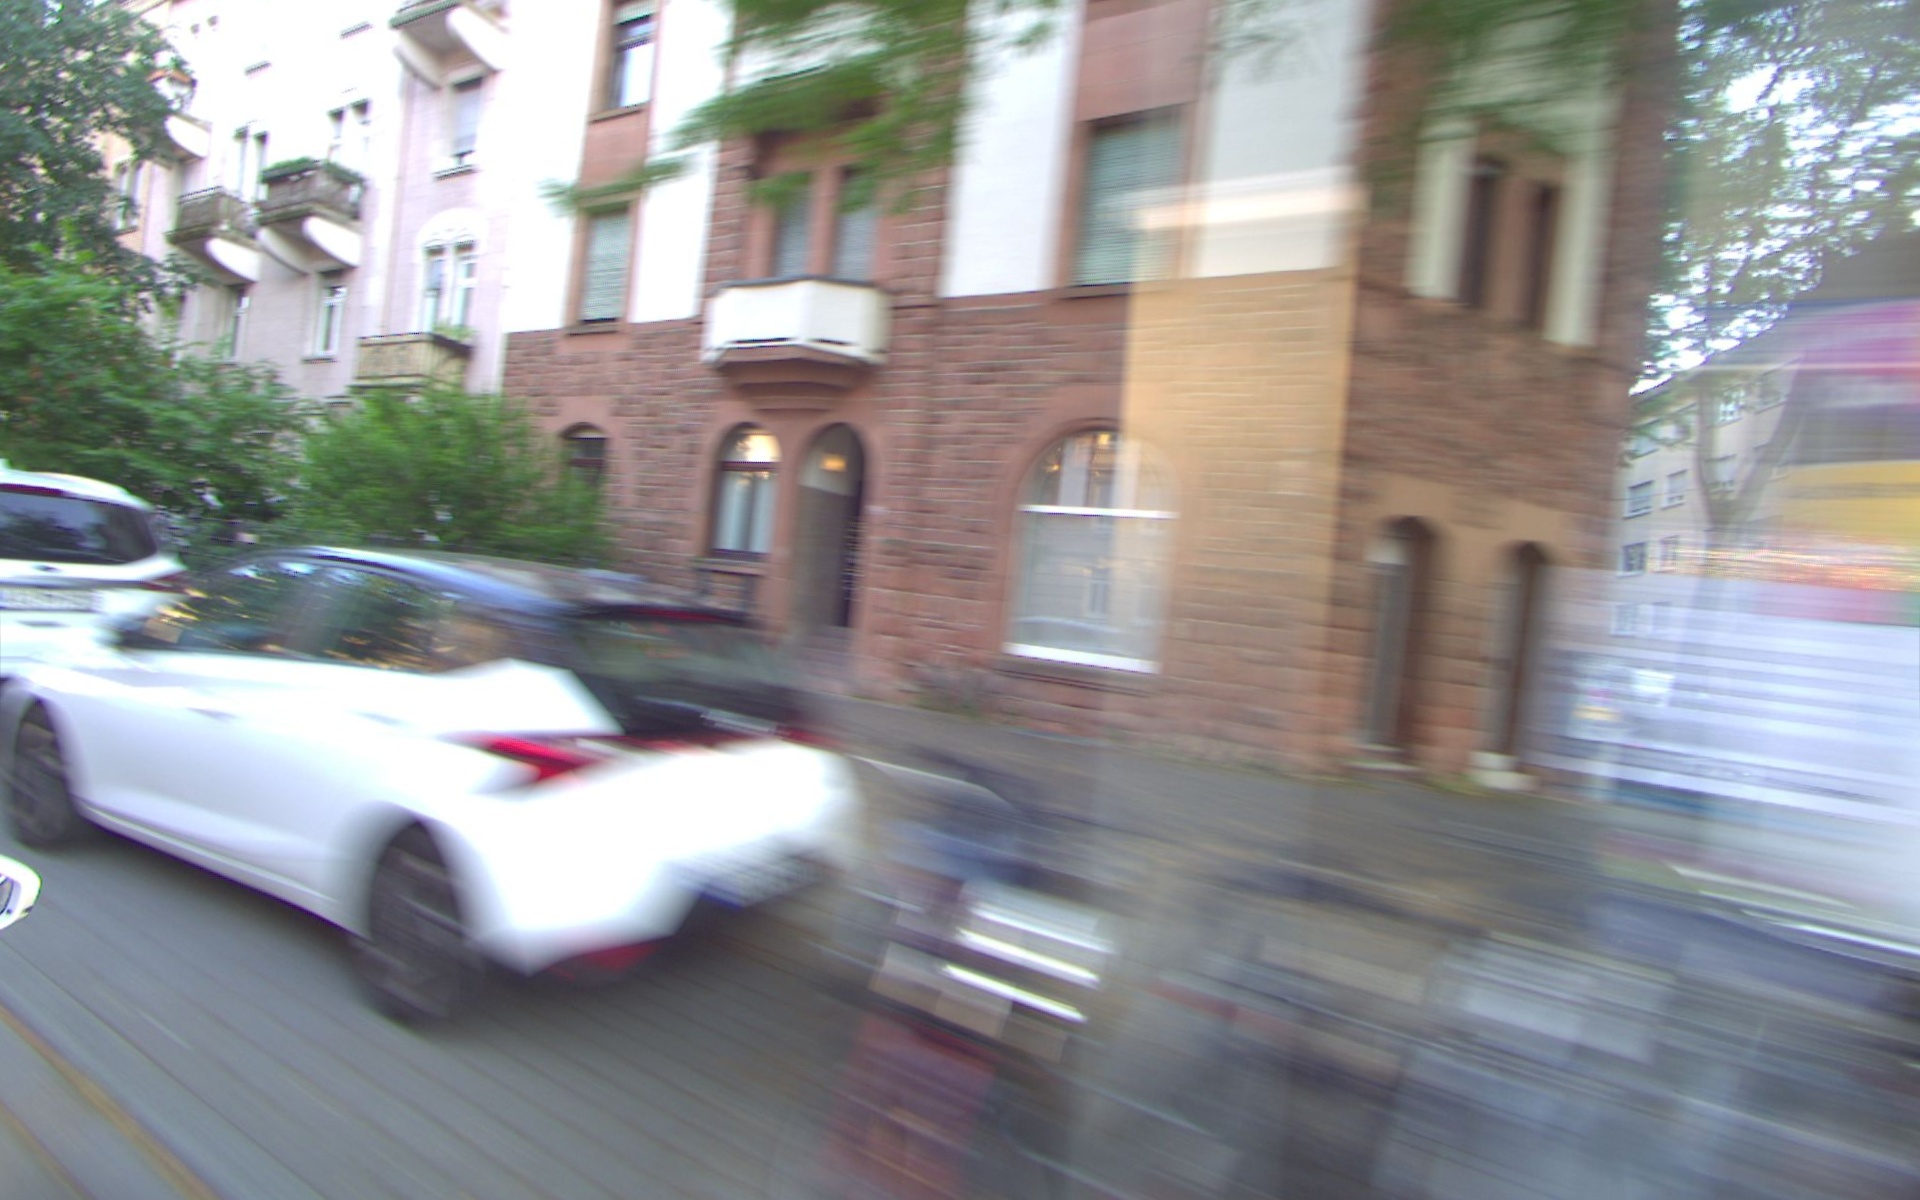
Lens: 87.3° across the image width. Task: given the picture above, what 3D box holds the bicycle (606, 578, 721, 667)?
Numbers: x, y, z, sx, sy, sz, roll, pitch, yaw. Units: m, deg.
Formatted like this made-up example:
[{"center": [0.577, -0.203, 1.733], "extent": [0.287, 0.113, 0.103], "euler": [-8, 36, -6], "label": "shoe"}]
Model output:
[{"center": [-3.745, 0.307, 12.827], "extent": [0.325, 1.047, 1.511], "euler": [8, 1, 29], "label": "bicycle"}]

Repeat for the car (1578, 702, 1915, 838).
[{"center": [12.954, 2.747, 16.876], "extent": [3.924, 1.535, 1.859], "euler": [7, -2, 16], "label": "car"}]

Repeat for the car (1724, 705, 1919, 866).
[{"center": [11.850, 2.336, 11.909], "extent": [3.924, 1.572, 1.827], "euler": [7, -1, 14], "label": "car"}]

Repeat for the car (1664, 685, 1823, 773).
[{"center": [24.267, 3.922, 31.400], "extent": [1.871, 2.226, 4.482], "euler": [6, -2, 10], "label": "car"}]

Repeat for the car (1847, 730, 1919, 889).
[{"center": [11.204, 2.302, 9.774], "extent": [3.368, 1.495, 1.683], "euler": [7, -1, 14], "label": "car"}]

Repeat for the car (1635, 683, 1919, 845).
[{"center": [12.361, 2.344, 14.304], "extent": [4.064, 1.741, 1.778], "euler": [7, -1, 14], "label": "car"}]

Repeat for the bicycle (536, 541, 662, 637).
[{"center": [-4.379, -0.111, 12.303], "extent": [0.325, 1.047, 1.511], "euler": [8, 1, 29], "label": "bicycle"}]

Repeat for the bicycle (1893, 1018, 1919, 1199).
[{"center": [2.505, 1.326, 2.023], "extent": [0.324, 0.975, 1.228], "euler": [8, 0, 15], "label": "bicycle"}]

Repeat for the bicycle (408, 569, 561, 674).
[{"center": [-5.135, 0.258, 10.955], "extent": [0.325, 1.047, 1.511], "euler": [8, 1, 29], "label": "bicycle"}]

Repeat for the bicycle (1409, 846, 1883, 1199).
[{"center": [1.460, 1.213, 2.362], "extent": [0.324, 0.959, 1.228], "euler": [7, 0, 10], "label": "bicycle"}]

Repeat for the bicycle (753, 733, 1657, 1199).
[{"center": [0.190, 0.965, 1.823], "extent": [0.440, 1.187, 1.622], "euler": [7, -1, -33], "label": "bicycle"}]

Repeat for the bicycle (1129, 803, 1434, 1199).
[{"center": [0.705, 1.119, 2.503], "extent": [0.324, 0.963, 1.228], "euler": [7, 0, 4], "label": "bicycle"}]

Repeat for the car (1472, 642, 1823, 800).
[{"center": [14.309, 2.440, 21.345], "extent": [5.443, 2.448, 2.402], "euler": [7, 0, 9], "label": "car"}]

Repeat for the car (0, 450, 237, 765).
[{"center": [-7.139, -0.134, 6.804], "extent": [4.522, 1.732, 1.801], "euler": [6, 0, 29], "label": "car"}]

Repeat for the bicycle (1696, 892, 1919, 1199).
[{"center": [2.081, 1.265, 2.062], "extent": [0.324, 0.969, 1.228], "euler": [7, 0, 10], "label": "bicycle"}]
